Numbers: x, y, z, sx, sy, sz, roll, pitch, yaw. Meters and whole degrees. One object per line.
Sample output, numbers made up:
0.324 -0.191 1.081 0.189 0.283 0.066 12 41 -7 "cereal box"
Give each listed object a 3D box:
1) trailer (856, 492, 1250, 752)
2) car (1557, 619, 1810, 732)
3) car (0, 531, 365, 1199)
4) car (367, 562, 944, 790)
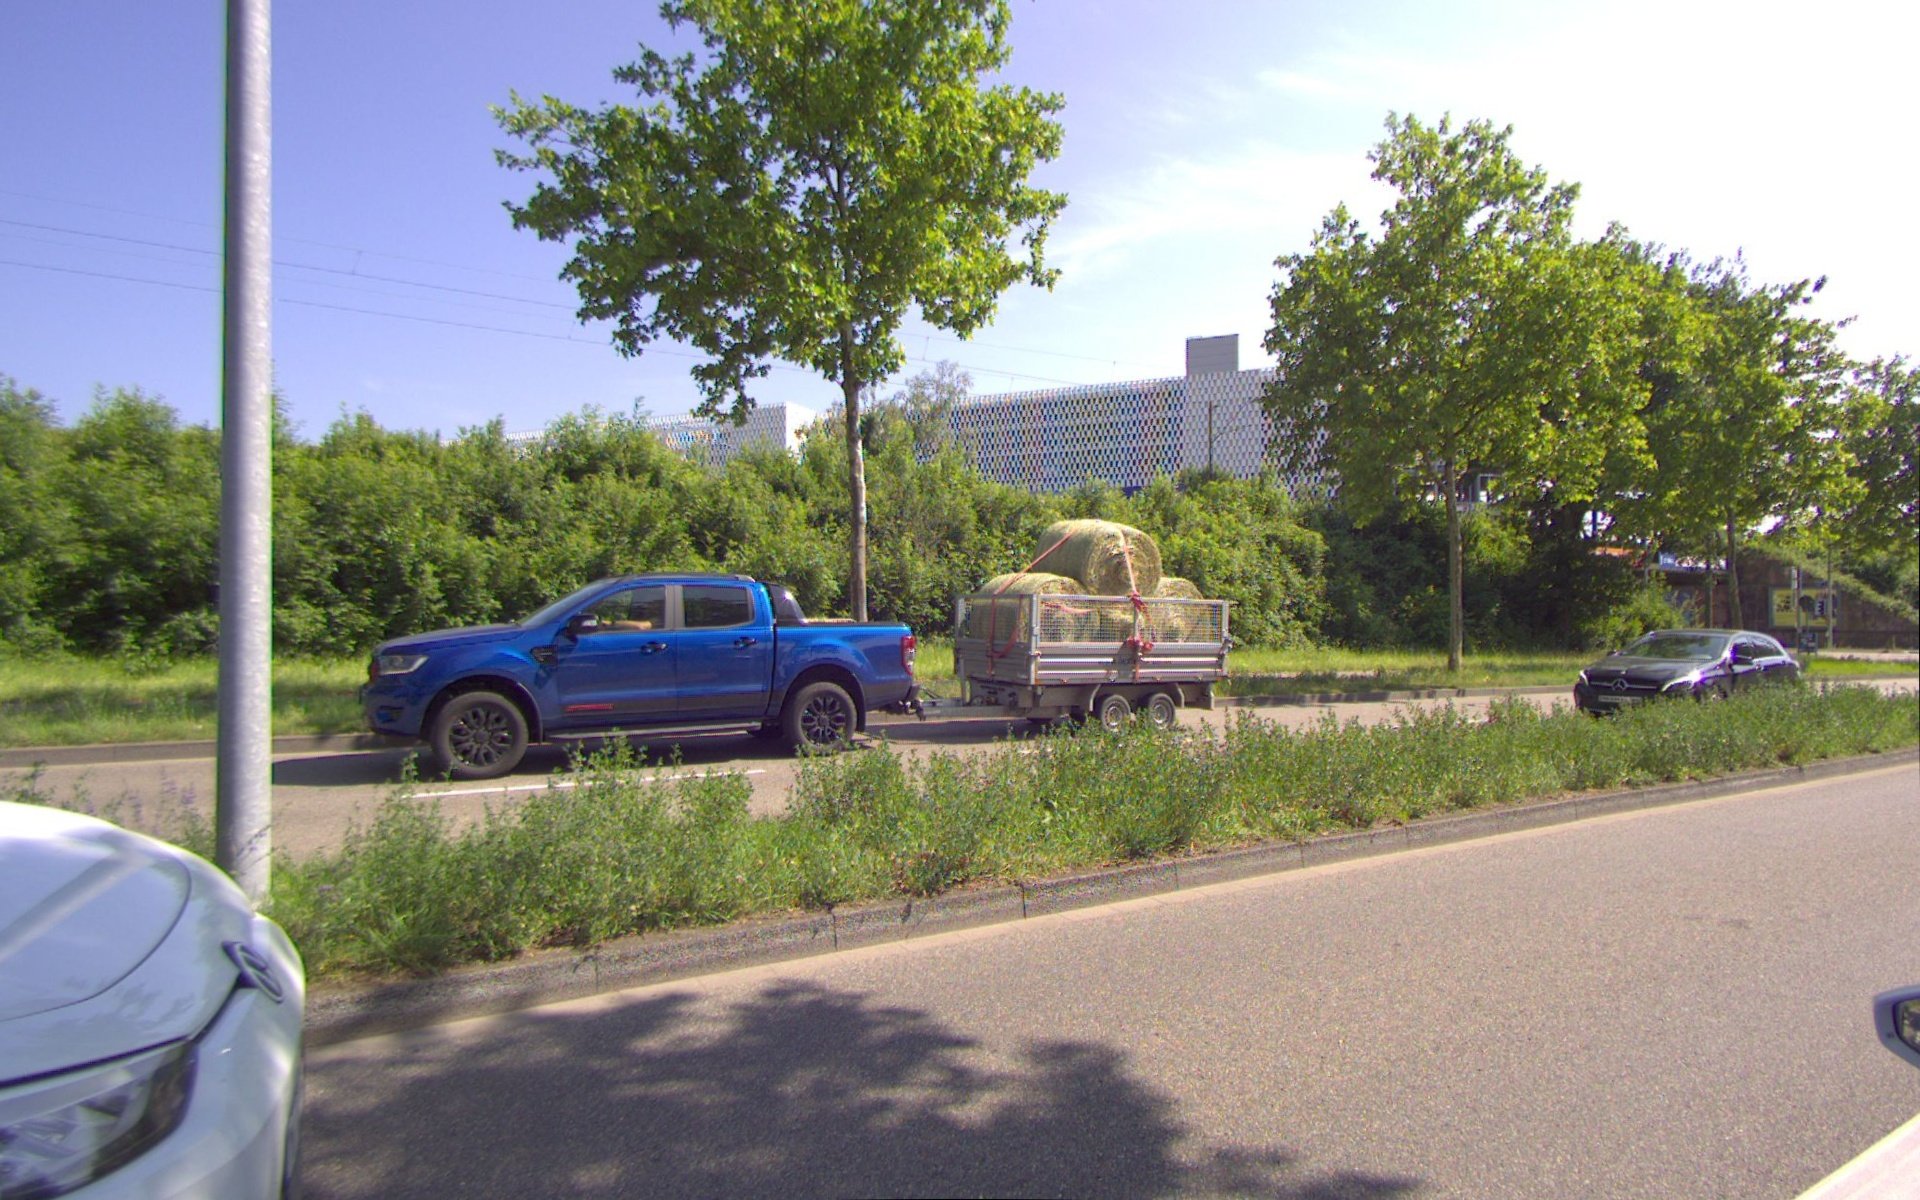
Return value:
1.266 0.274 12.787 4.773 2.780 1.870 1 1 -31 "trailer"
11.077 1.086 15.312 4.119 1.491 1.595 2 0 -30 "car"
-3.029 0.660 0.984 4.159 1.541 1.810 1 0 -31 "car"
-2.896 0.647 10.171 5.316 1.813 1.754 1 1 -32 "car"
